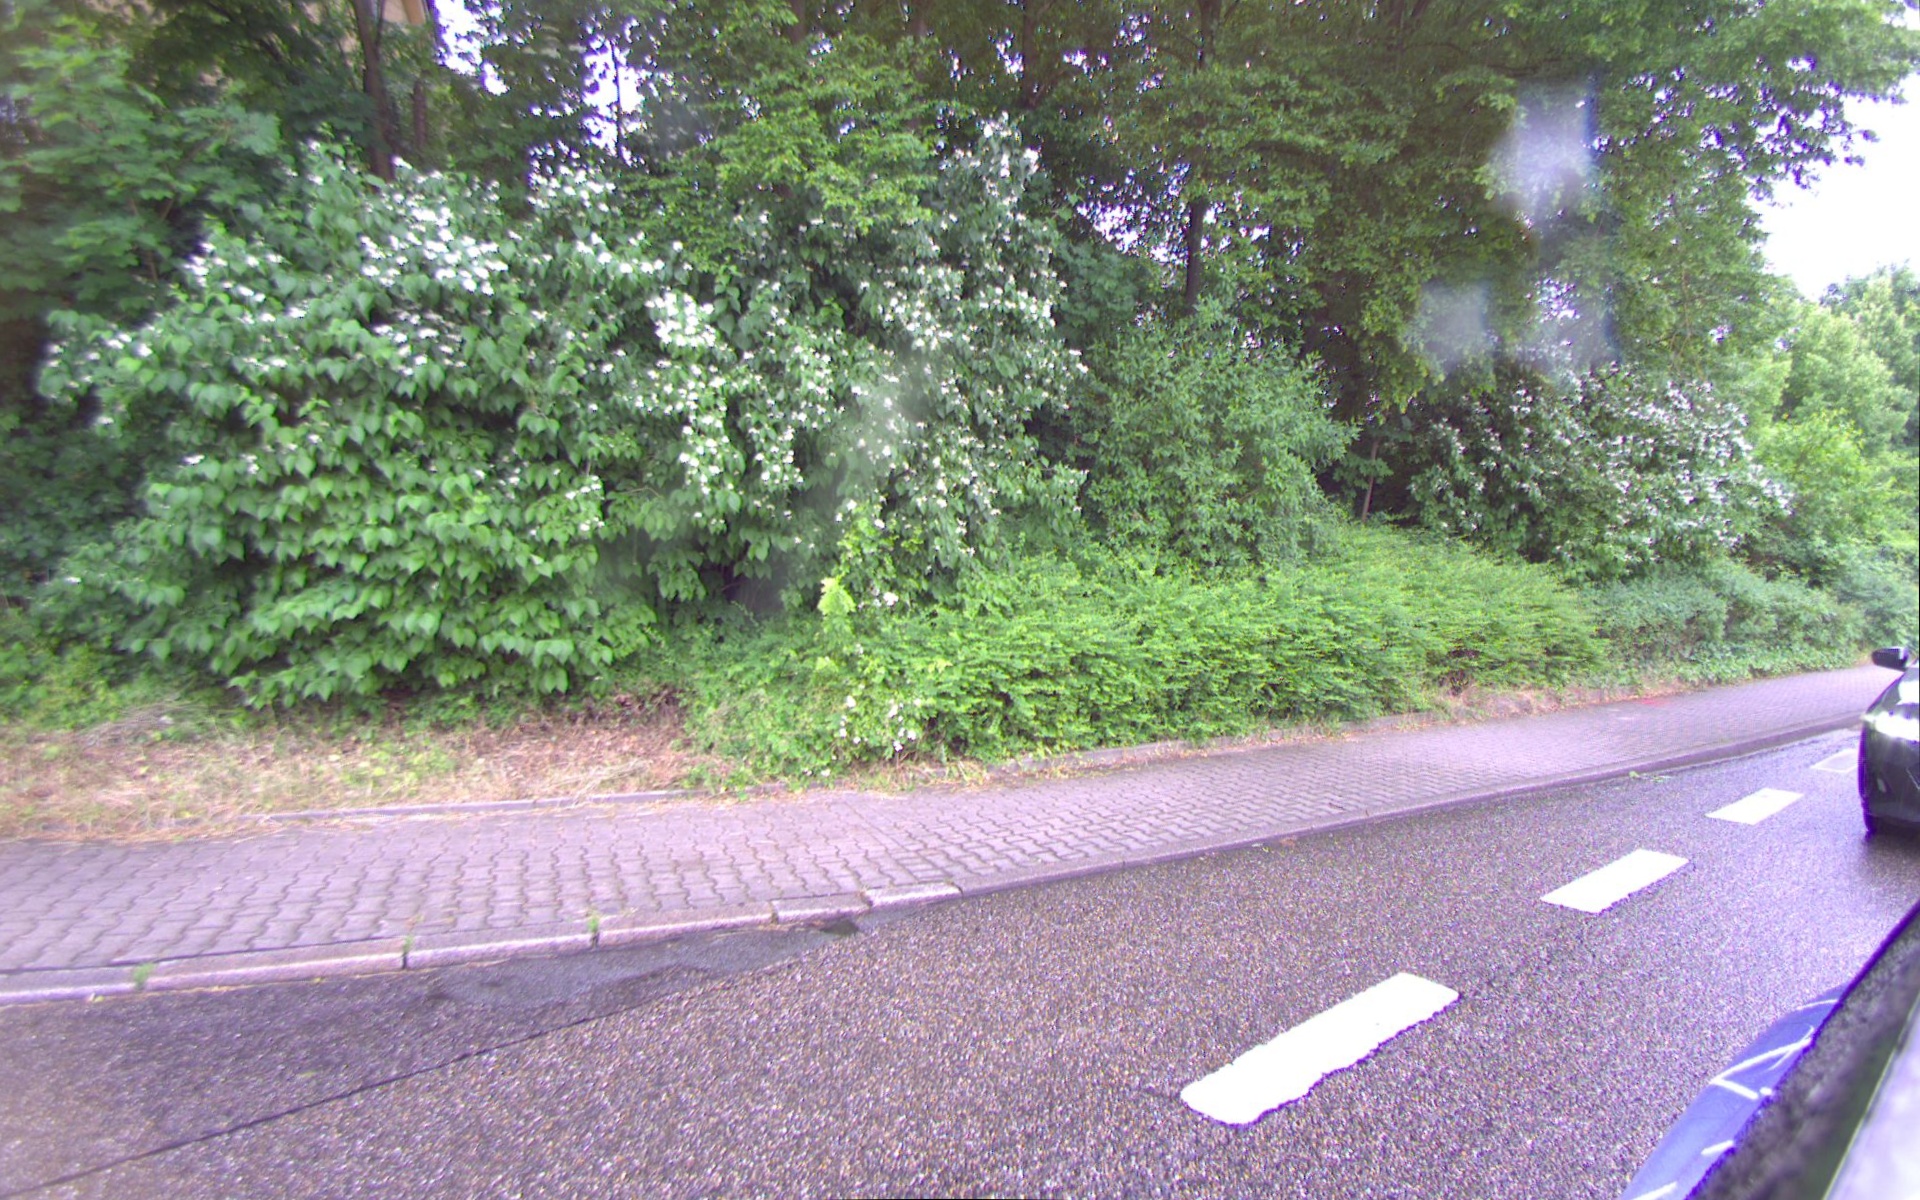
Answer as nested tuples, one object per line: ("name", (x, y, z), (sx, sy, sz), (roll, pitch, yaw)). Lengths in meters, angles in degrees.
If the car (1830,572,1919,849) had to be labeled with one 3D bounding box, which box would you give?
("car", (7.301, 0.634, 6.400), (4.120, 1.524, 1.874), (-1, 4, -38))
